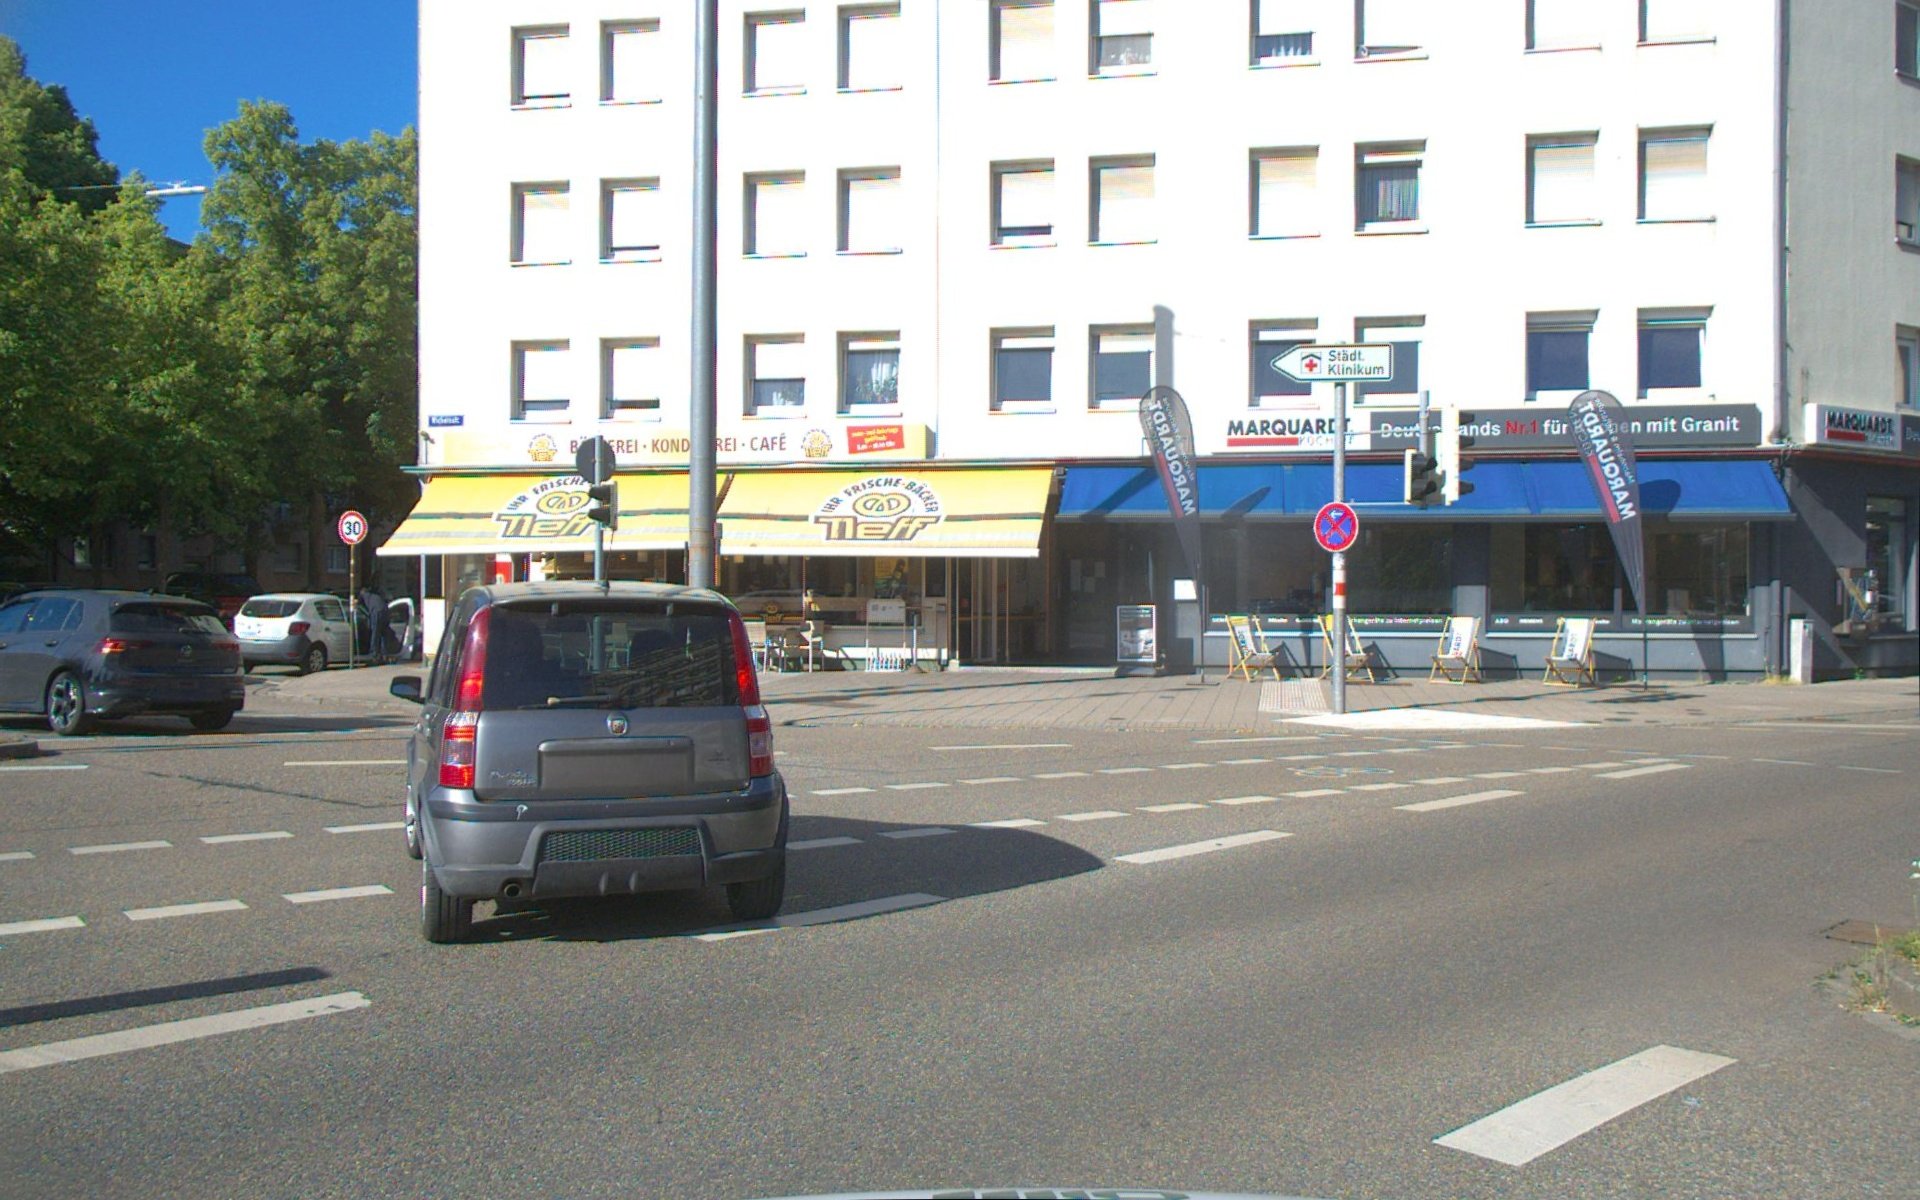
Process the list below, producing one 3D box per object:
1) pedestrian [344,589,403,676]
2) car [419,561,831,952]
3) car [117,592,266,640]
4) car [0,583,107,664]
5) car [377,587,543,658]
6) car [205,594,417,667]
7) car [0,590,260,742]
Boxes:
[{"bbox_3d":[-11.286,0.612,31.869,0.774,1.649,0.830,-1,0,5],"label":"pedestrian"},{"bbox_3d":[-1.835,0.598,8.296,1.635,1.536,3.234,0,0,-19],"label":"car"},{"bbox_3d":[-20.555,0.406,44.255,3.403,1.211,1.648,-1,0,-35],"label":"car"},{"bbox_3d":[-19.978,0.486,34.765,3.226,1.630,1.672,-1,0,7],"label":"car"},{"bbox_3d":[-11.529,0.479,38.431,1.895,1.539,3.942,0,0,15],"label":"car"},{"bbox_3d":[-12.625,0.552,32.455,1.951,1.333,4.003,0,0,13],"label":"car"},{"bbox_3d":[-9.217,0.626,17.595,3.613,1.454,1.621,0,0,35],"label":"car"}]
